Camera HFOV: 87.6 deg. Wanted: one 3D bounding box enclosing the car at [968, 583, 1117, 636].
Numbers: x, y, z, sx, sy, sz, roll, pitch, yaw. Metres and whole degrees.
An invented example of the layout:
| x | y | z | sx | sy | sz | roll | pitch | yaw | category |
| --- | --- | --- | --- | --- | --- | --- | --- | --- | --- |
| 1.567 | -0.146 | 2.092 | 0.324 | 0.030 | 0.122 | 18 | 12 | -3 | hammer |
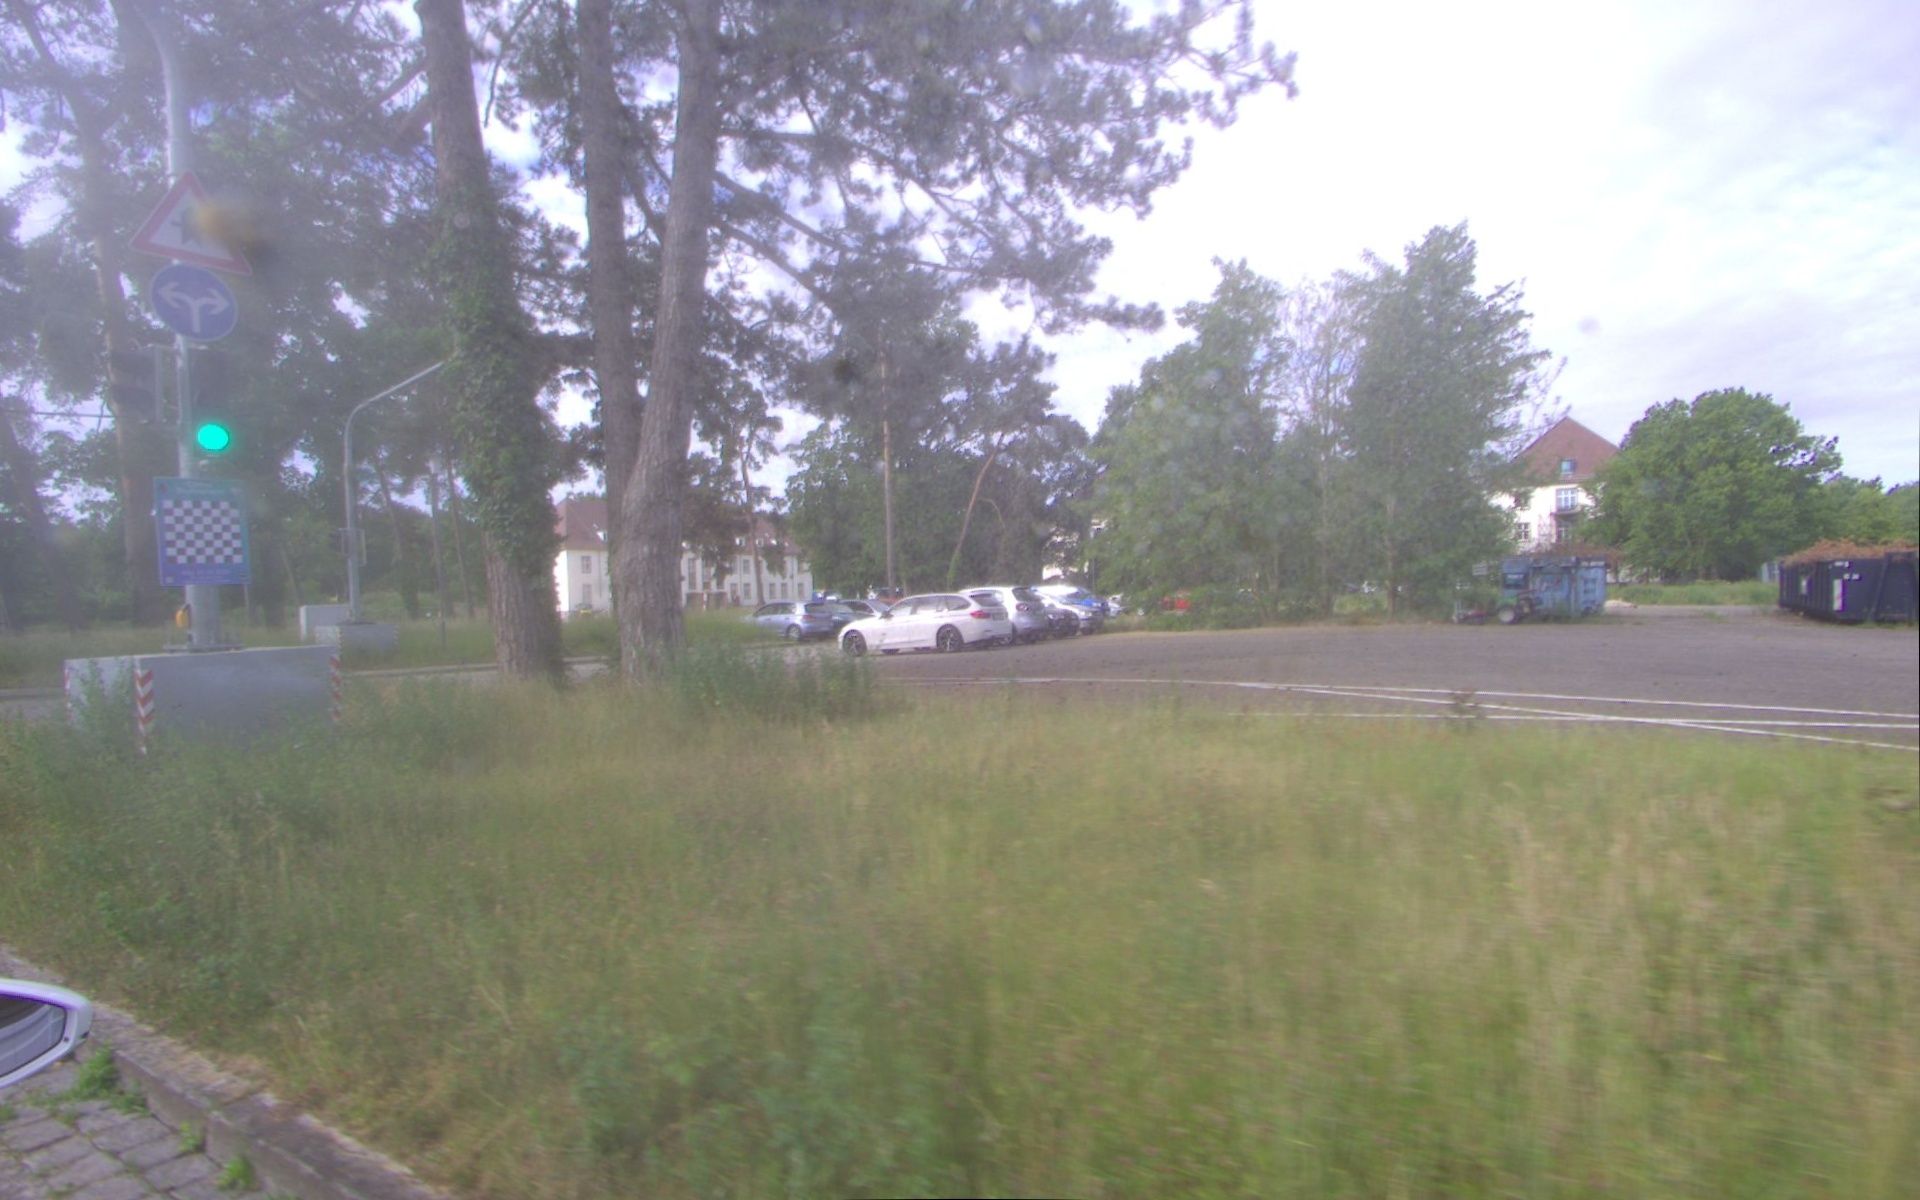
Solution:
| x | y | z | sx | sy | sz | roll | pitch | yaw | category |
| --- | --- | --- | --- | --- | --- | --- | --- | --- | --- |
| 2.632 | 0.317 | 32.214 | 4.380 | 1.598 | 1.864 | -1 | 1 | 29 | car |

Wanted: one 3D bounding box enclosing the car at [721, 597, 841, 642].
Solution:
| x | y | z | sx | sy | sz | roll | pitch | yaw | category |
| --- | --- | --- | --- | --- | --- | --- | --- | --- | --- |
| -6.677 | 0.712 | 37.151 | 4.386 | 1.544 | 1.747 | -1 | 1 | 34 | car |

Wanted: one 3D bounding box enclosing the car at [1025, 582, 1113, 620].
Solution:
| x | y | z | sx | sy | sz | roll | pitch | yaw | category |
| --- | --- | --- | --- | --- | --- | --- | --- | --- | --- |
| 6.146 | 0.070 | 56.651 | 4.587 | 1.994 | 1.750 | -1 | 1 | 29 | car |

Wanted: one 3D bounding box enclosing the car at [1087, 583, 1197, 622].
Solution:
| x | y | z | sx | sy | sz | roll | pitch | yaw | category |
| --- | --- | --- | --- | --- | --- | --- | --- | --- | --- |
| 7.981 | 0.118 | 44.005 | 4.381 | 1.598 | 1.864 | -1 | 1 | 29 | car |

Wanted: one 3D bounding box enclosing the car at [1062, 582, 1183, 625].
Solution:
| x | y | z | sx | sy | sz | roll | pitch | yaw | category |
| --- | --- | --- | --- | --- | --- | --- | --- | --- | --- |
| 6.493 | 0.154 | 40.099 | 4.380 | 1.598 | 1.864 | -1 | 1 | 29 | car |

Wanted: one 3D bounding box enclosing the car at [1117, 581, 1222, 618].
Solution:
| x | y | z | sx | sy | sz | roll | pitch | yaw | category |
| --- | --- | --- | --- | --- | --- | --- | --- | --- | --- |
| 9.706 | -0.009 | 46.453 | 4.381 | 1.598 | 1.864 | -1 | 1 | 29 | car |

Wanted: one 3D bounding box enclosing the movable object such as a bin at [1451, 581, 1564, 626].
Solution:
| x | y | z | sx | sy | sz | roll | pitch | yaw | category |
| --- | --- | --- | --- | --- | --- | --- | --- | --- | --- |
| 14.093 | 0.074 | 25.832 | 2.505 | 1.098 | 1.060 | 0 | 2 | 31 | movable object such as a bin |

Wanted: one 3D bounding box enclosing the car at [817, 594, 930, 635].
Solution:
| x | y | z | sx | sy | sz | roll | pitch | yaw | category |
| --- | --- | --- | --- | --- | --- | --- | --- | --- | --- |
| -3.585 | 0.604 | 41.218 | 4.380 | 1.544 | 1.750 | -1 | 1 | 29 | car |

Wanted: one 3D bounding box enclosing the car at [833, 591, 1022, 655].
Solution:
| x | y | z | sx | sy | sz | roll | pitch | yaw | category |
| --- | --- | --- | --- | --- | --- | --- | --- | --- | --- |
| -0.841 | 0.583 | 24.821 | 4.381 | 1.434 | 1.750 | -2 | 0 | 29 | car |

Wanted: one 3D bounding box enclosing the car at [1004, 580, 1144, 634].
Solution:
| x | y | z | sx | sy | sz | roll | pitch | yaw | category |
| --- | --- | --- | --- | --- | --- | --- | --- | --- | --- |
| 3.876 | 0.250 | 34.298 | 4.380 | 1.709 | 1.863 | -1 | 1 | 29 | car |

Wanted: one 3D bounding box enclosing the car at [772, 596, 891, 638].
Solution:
| x | y | z | sx | sy | sz | roll | pitch | yaw | category |
| --- | --- | --- | --- | --- | --- | --- | --- | --- | --- |
| -5.024 | 0.663 | 38.986 | 4.380 | 1.544 | 1.750 | -1 | 1 | 29 | car |

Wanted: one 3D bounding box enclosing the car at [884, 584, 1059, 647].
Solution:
| x | y | z | sx | sy | sz | roll | pitch | yaw | category |
| --- | --- | --- | --- | --- | --- | --- | --- | --- | --- |
| 0.294 | 0.416 | 27.152 | 4.380 | 1.598 | 1.864 | -1 | 1 | 29 | car |

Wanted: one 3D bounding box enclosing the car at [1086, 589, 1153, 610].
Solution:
| x | y | z | sx | sy | sz | roll | pitch | yaw | category |
| --- | --- | --- | --- | --- | --- | --- | --- | --- | --- |
| 10.248 | -0.021 | 64.255 | 3.934 | 1.226 | 1.657 | -1 | 1 | 24 | car |

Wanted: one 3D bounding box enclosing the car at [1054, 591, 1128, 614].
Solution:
| x | y | z | sx | sy | sz | roll | pitch | yaw | category |
| --- | --- | --- | --- | --- | --- | --- | --- | --- | --- |
| 7.688 | 0.149 | 58.850 | 3.942 | 1.226 | 1.654 | -1 | 1 | 31 | car |

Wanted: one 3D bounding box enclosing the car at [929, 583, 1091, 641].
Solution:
| x | y | z | sx | sy | sz | roll | pitch | yaw | category |
| --- | --- | --- | --- | --- | --- | --- | --- | --- | --- |
| 1.454 | 0.366 | 29.577 | 4.380 | 1.598 | 1.864 | -1 | 1 | 29 | car |

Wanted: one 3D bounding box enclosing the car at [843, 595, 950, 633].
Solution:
| x | y | z | sx | sy | sz | roll | pitch | yaw | category |
| --- | --- | --- | --- | --- | --- | --- | --- | --- | --- |
| -2.773 | 0.605 | 43.606 | 4.380 | 1.544 | 1.750 | -1 | 1 | 29 | car |
